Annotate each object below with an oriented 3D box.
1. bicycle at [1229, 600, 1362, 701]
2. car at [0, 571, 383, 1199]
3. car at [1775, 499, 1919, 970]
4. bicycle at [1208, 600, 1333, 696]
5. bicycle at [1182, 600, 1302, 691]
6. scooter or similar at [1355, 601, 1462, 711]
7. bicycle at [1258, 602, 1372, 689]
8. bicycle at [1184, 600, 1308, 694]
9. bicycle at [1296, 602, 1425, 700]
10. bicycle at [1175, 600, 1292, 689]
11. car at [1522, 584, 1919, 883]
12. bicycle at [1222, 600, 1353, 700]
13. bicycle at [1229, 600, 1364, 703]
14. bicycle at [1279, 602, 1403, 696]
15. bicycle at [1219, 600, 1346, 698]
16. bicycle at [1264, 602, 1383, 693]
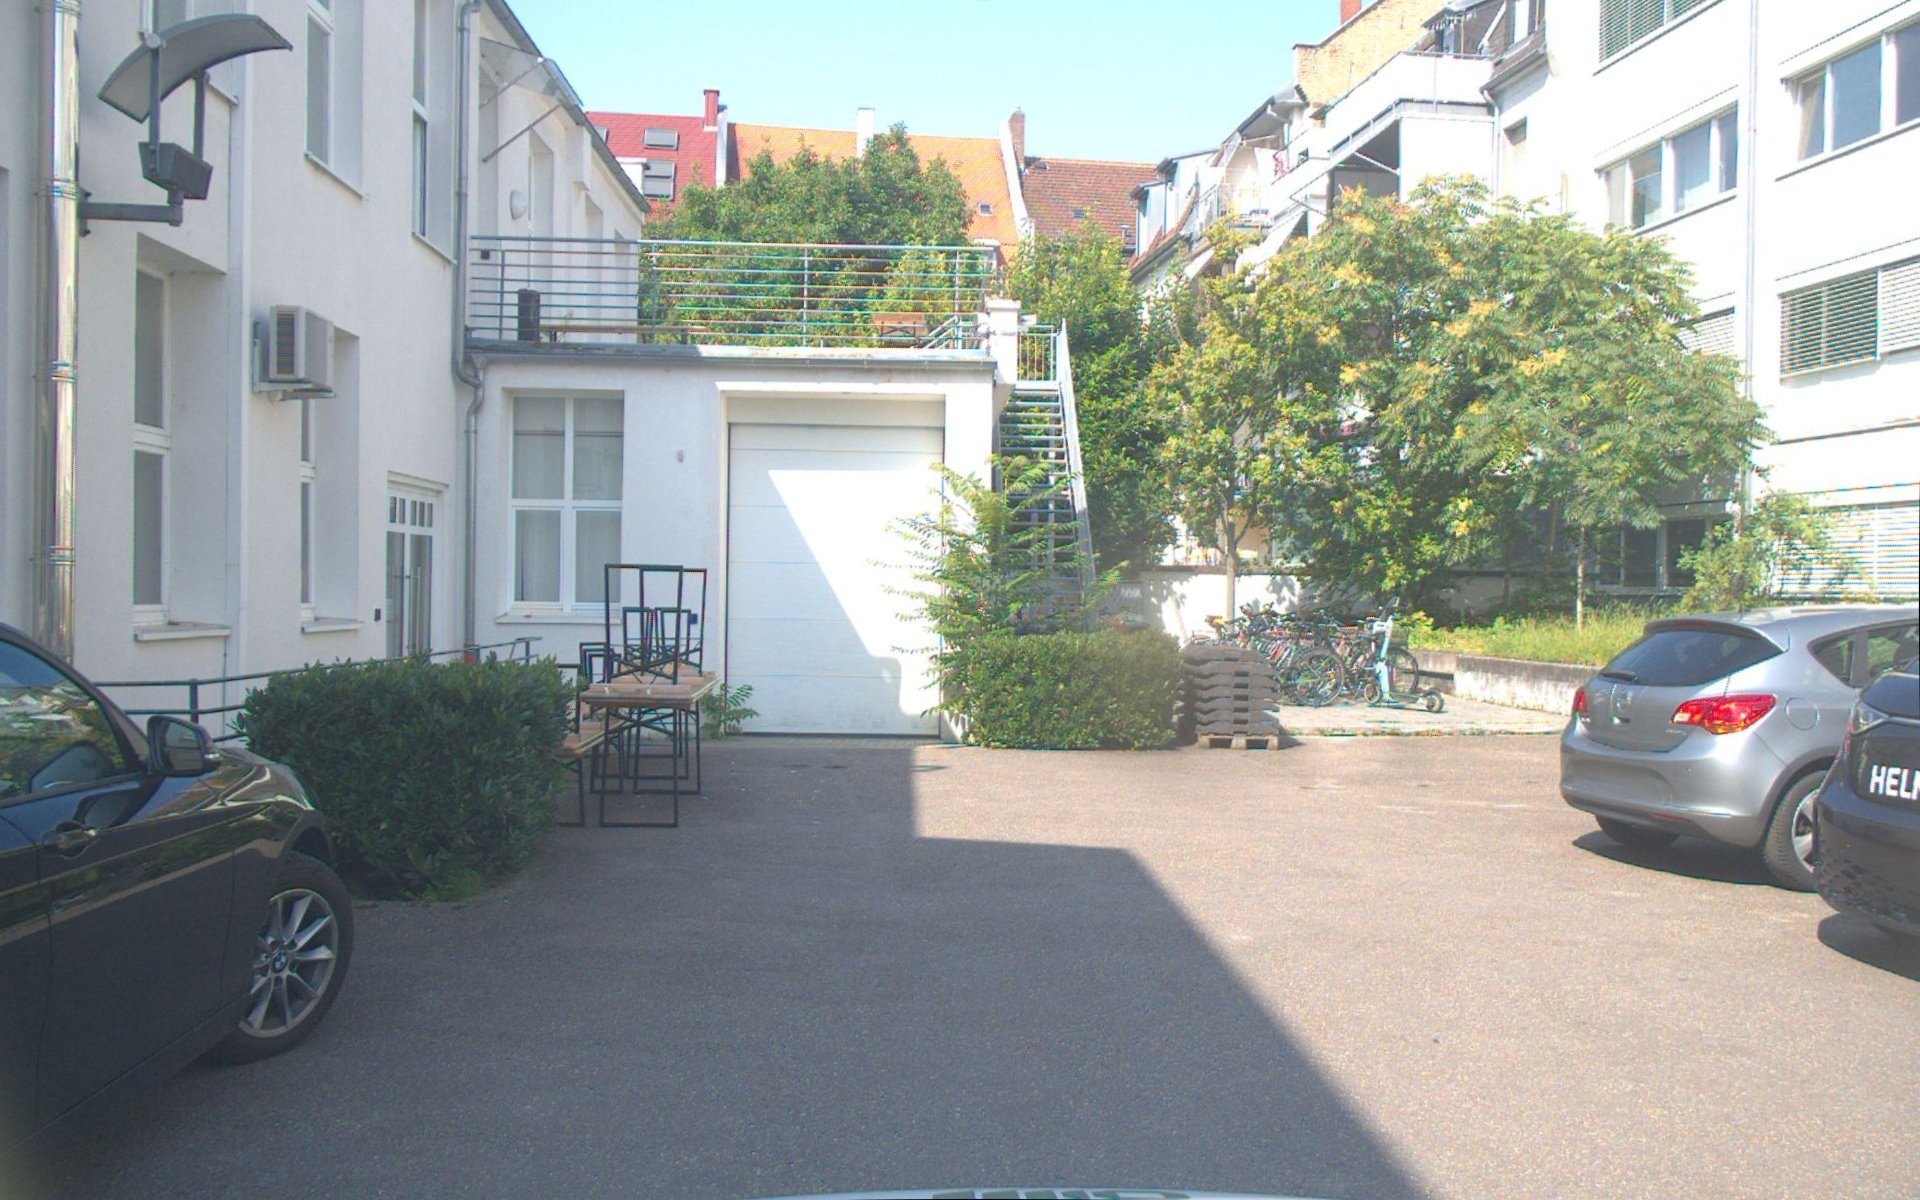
[{"bbox_3d":[4.171,0.628,20.595,1.590,1.235,0.327,0,0,-1],"label":"bicycle"},{"bbox_3d":[-2.581,0.678,3.305,1.655,1.484,3.920,1,0,-3],"label":"car"},{"bbox_3d":[5.910,0.524,6.755,4.420,1.826,1.878,0,-1,-11],"label":"car"},{"bbox_3d":[4.066,0.628,21.700,1.588,1.235,0.327,0,0,11],"label":"bicycle"},{"bbox_3d":[3.924,0.628,23.007,1.592,1.235,0.423,0,0,-8],"label":"bicycle"},{"bbox_3d":[5.428,0.654,20.073,0.375,1.283,1.333,0,0,-33],"label":"scooter or similar"},{"bbox_3d":[5.086,0.648,23.736,1.588,1.235,0.424,0,0,10],"label":"bicycle"},{"bbox_3d":[3.861,0.627,22.370,1.590,1.235,0.424,0,0,-3],"label":"bicycle"},{"bbox_3d":[5.141,0.645,21.274,1.588,1.235,0.327,0,0,13],"label":"bicycle"},{"bbox_3d":[3.900,0.629,23.609,1.592,1.235,0.423,0,0,-7],"label":"bicycle"},{"bbox_3d":[5.493,0.684,9.626,3.862,1.508,1.770,0,-1,-11],"label":"car"},{"bbox_3d":[4.133,0.628,20.887,1.590,1.235,0.327,0,0,-1],"label":"bicycle"},{"bbox_3d":[4.116,0.627,20.271,1.590,1.235,0.327,0,0,-1],"label":"bicycle"},{"bbox_3d":[5.087,0.646,22.134,1.588,1.235,0.424,0,0,11],"label":"bicycle"},{"bbox_3d":[4.154,0.629,21.339,1.588,1.235,0.327,0,0,8],"label":"bicycle"},{"bbox_3d":[4.978,0.645,22.706,1.588,1.235,0.424,0,0,10],"label":"bicycle"}]
